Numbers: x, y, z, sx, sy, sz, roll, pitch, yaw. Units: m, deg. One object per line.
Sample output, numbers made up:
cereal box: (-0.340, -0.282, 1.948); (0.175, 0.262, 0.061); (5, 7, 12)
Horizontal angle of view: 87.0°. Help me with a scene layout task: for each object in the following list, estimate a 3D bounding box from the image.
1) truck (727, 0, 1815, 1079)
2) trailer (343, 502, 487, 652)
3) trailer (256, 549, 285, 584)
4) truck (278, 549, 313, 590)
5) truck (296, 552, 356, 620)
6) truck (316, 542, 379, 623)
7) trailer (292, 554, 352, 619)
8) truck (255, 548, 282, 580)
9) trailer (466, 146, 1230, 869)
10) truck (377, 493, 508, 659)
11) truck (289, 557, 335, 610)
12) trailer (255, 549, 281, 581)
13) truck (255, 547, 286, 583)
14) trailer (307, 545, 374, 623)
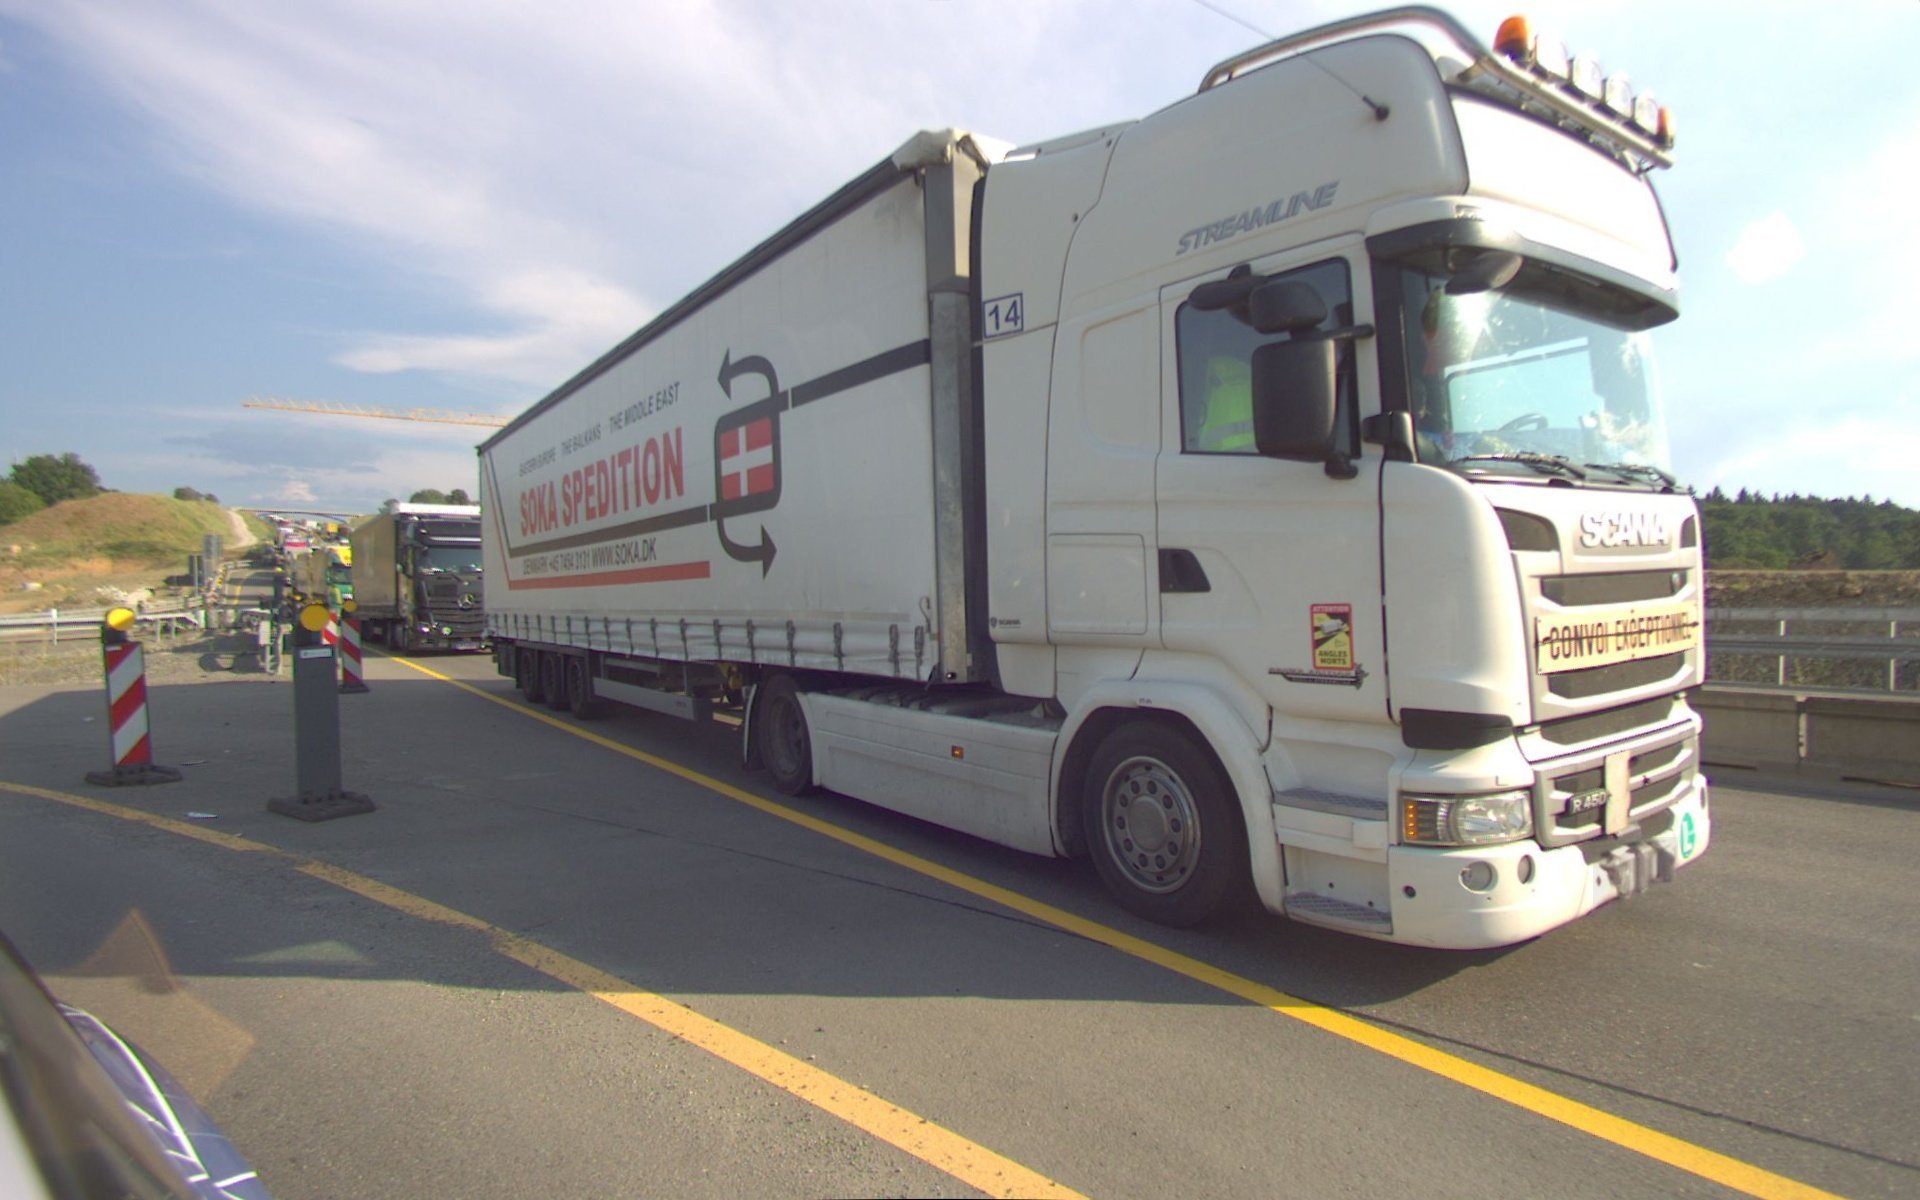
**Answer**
truck: (0.942, -0.587, 6.103); (2.447, 3.907, 6.026); (0, 0, -36)
trailer: (-18.508, -0.677, 33.748); (2.447, 4.092, 13.664); (0, 0, -36)
trailer: (-93.170, -4.436, 136.706); (3.062, 4.347, 14.289); (2, -1, -35)
truck: (-75.282, -3.394, 114.549); (3.062, 4.347, 6.914); (2, -1, -34)
truck: (-43.069, -0.902, 68.686); (3.062, 4.347, 6.914); (2, -1, -34)
truck: (-31.842, -0.877, 52.508); (2.447, 3.931, 6.027); (0, 0, -35)
trailer: (-47.349, -0.955, 74.908); (3.062, 4.347, 14.289); (2, -1, -35)
truck: (-100.102, -5.175, 146.452); (3.062, 4.347, 6.914); (2, -1, -34)
trailer: (-3.128, -0.548, 11.748); (2.447, 3.907, 13.664); (0, 0, -36)
truck: (-14.510, -0.623, 28.136); (2.447, 4.091, 6.027); (0, 0, -35)
truck: (-56.422, -1.369, 88.068); (3.062, 4.347, 6.914); (2, -1, -34)
trailer: (-104.921, -5.234, 153.473); (3.062, 4.347, 14.289); (2, -1, -35)
truck: (-88.590, -4.393, 130.001); (3.062, 4.347, 6.914); (2, -1, -34)
trailer: (-35.600, -0.863, 57.914); (2.447, 3.988, 14.012); (0, 0, -35)
